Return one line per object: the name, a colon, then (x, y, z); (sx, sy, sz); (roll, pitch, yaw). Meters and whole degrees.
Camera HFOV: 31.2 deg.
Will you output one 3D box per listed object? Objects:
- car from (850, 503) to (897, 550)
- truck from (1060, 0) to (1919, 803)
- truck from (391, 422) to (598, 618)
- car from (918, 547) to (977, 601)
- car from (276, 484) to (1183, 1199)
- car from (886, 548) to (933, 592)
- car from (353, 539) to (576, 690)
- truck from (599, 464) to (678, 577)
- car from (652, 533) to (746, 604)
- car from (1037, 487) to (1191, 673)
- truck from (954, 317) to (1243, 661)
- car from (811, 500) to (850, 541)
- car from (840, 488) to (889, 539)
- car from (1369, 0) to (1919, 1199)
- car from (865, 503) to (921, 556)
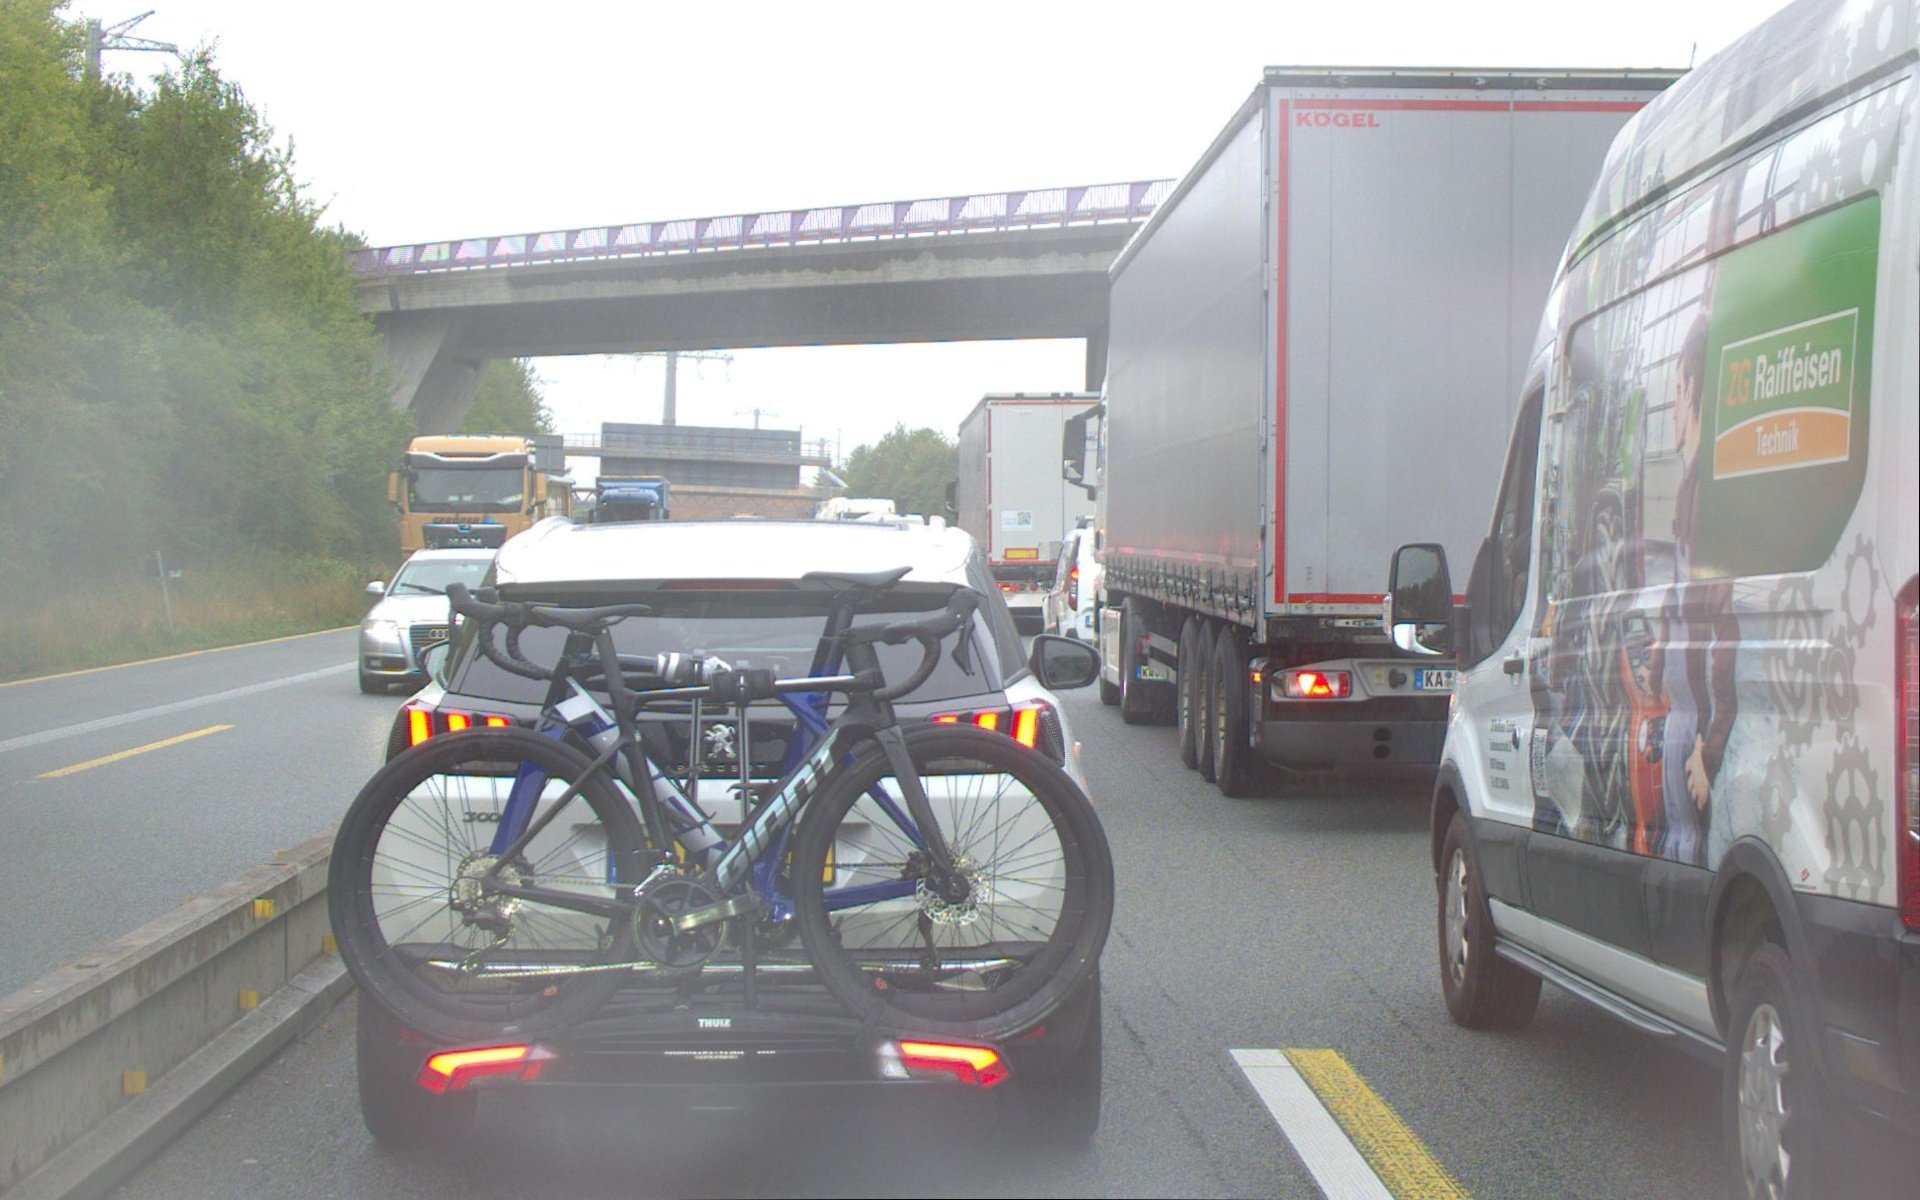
car: (-3.746, -3.195, 149.710); (1.993, 2.007, 4.000); (1, 1, -1)
truck: (3.209, -1.927, 27.395); (3.979, 5.654, 20.377); (1, 1, -1)
truck: (-9.364, -1.565, 70.527); (2.681, 3.644, 12.312); (1, 1, -1)
car: (-0.366, -0.735, 97.019); (1.638, 1.492, 3.666); (1, 1, -1)
car: (-0.448, 0.568, 9.219); (1.810, 1.632, 4.635); (1, 1, 0)
car: (-1.766, -1.063, 121.140); (1.638, 1.492, 3.666); (1, 1, -1)
car: (-5.020, 0.123, 35.306); (1.779, 1.438, 4.329); (1, 1, -2)
truck: (-12.643, -3.013, 134.195); (2.765, 4.109, 16.931); (0, 1, -6)
car: (-6.117, -0.747, 80.887); (1.935, 1.602, 4.120); (1, 1, -1)
car: (1.869, -0.259, 42.773); (1.670, 2.173, 4.535); (1, 1, 0)
truck: (2.366, -1.941, 67.184); (4.743, 5.654, 20.376); (1, 1, 0)
car: (-7.066, -4.334, 188.123); (1.993, 2.119, 4.527); (1, 1, -1)
car: (-4.503, -4.086, 162.617); (2.239, 2.299, 4.572); (1, 1, -1)
car: (2.542, -0.010, 8.751); (2.144, 2.667, 6.117); (1, 1, -1)
car: (-2.643, -2.752, 134.778); (1.993, 2.007, 4.001); (1, 1, -3)
